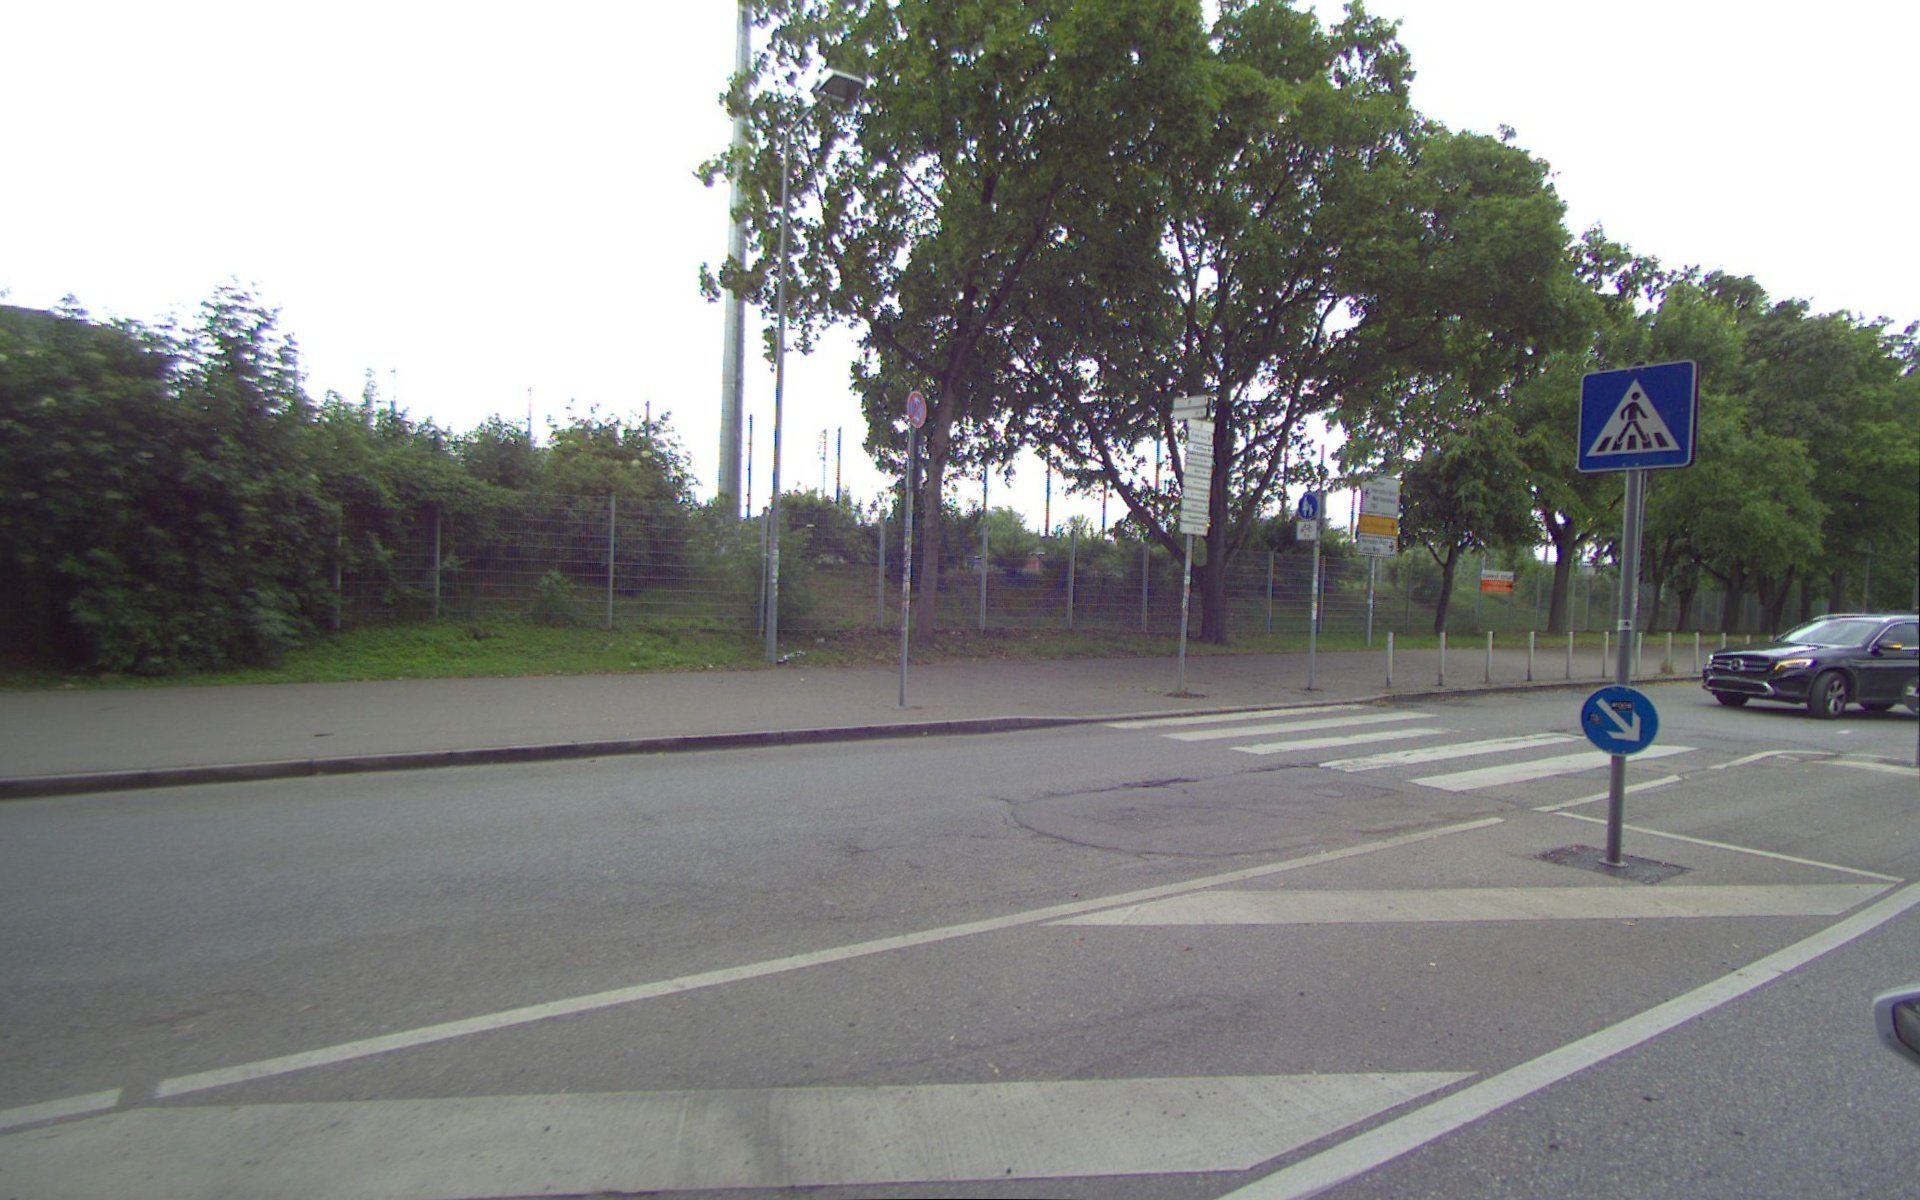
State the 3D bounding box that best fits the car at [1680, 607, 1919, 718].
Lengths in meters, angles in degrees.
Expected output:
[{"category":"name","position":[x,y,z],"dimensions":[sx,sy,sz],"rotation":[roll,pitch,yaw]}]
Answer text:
[{"category":"car","position":[14.577,1.003,16.352],"dimensions":[4.463,1.595,1.844],"rotation":[2,1,-5]}]
